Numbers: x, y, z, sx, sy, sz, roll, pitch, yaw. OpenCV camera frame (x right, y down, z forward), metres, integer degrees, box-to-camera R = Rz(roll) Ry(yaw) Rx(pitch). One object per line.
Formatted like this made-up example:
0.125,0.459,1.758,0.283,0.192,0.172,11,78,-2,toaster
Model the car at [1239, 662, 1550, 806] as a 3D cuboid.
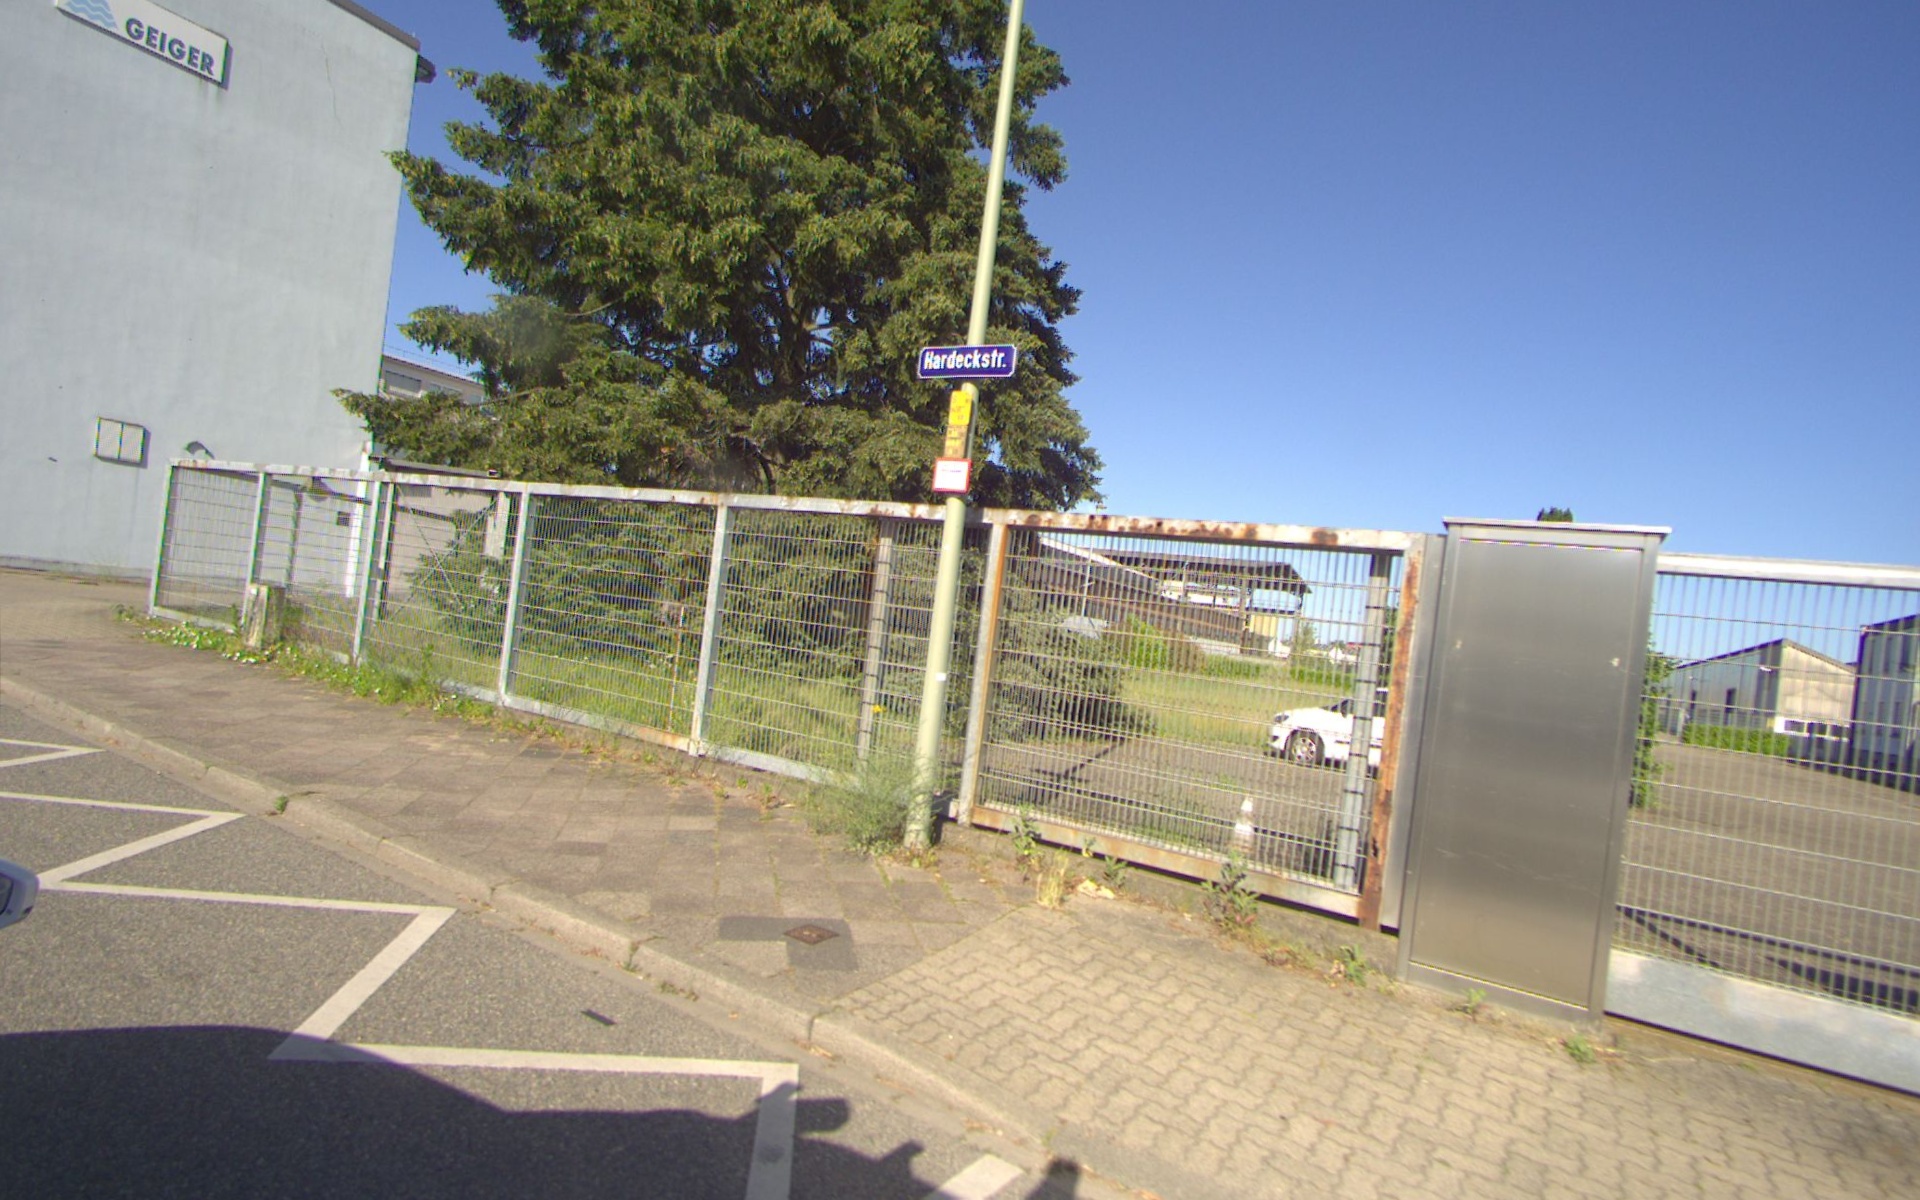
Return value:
7.018,2.093,16.424,4.229,1.582,1.864,6,-2,37,car
